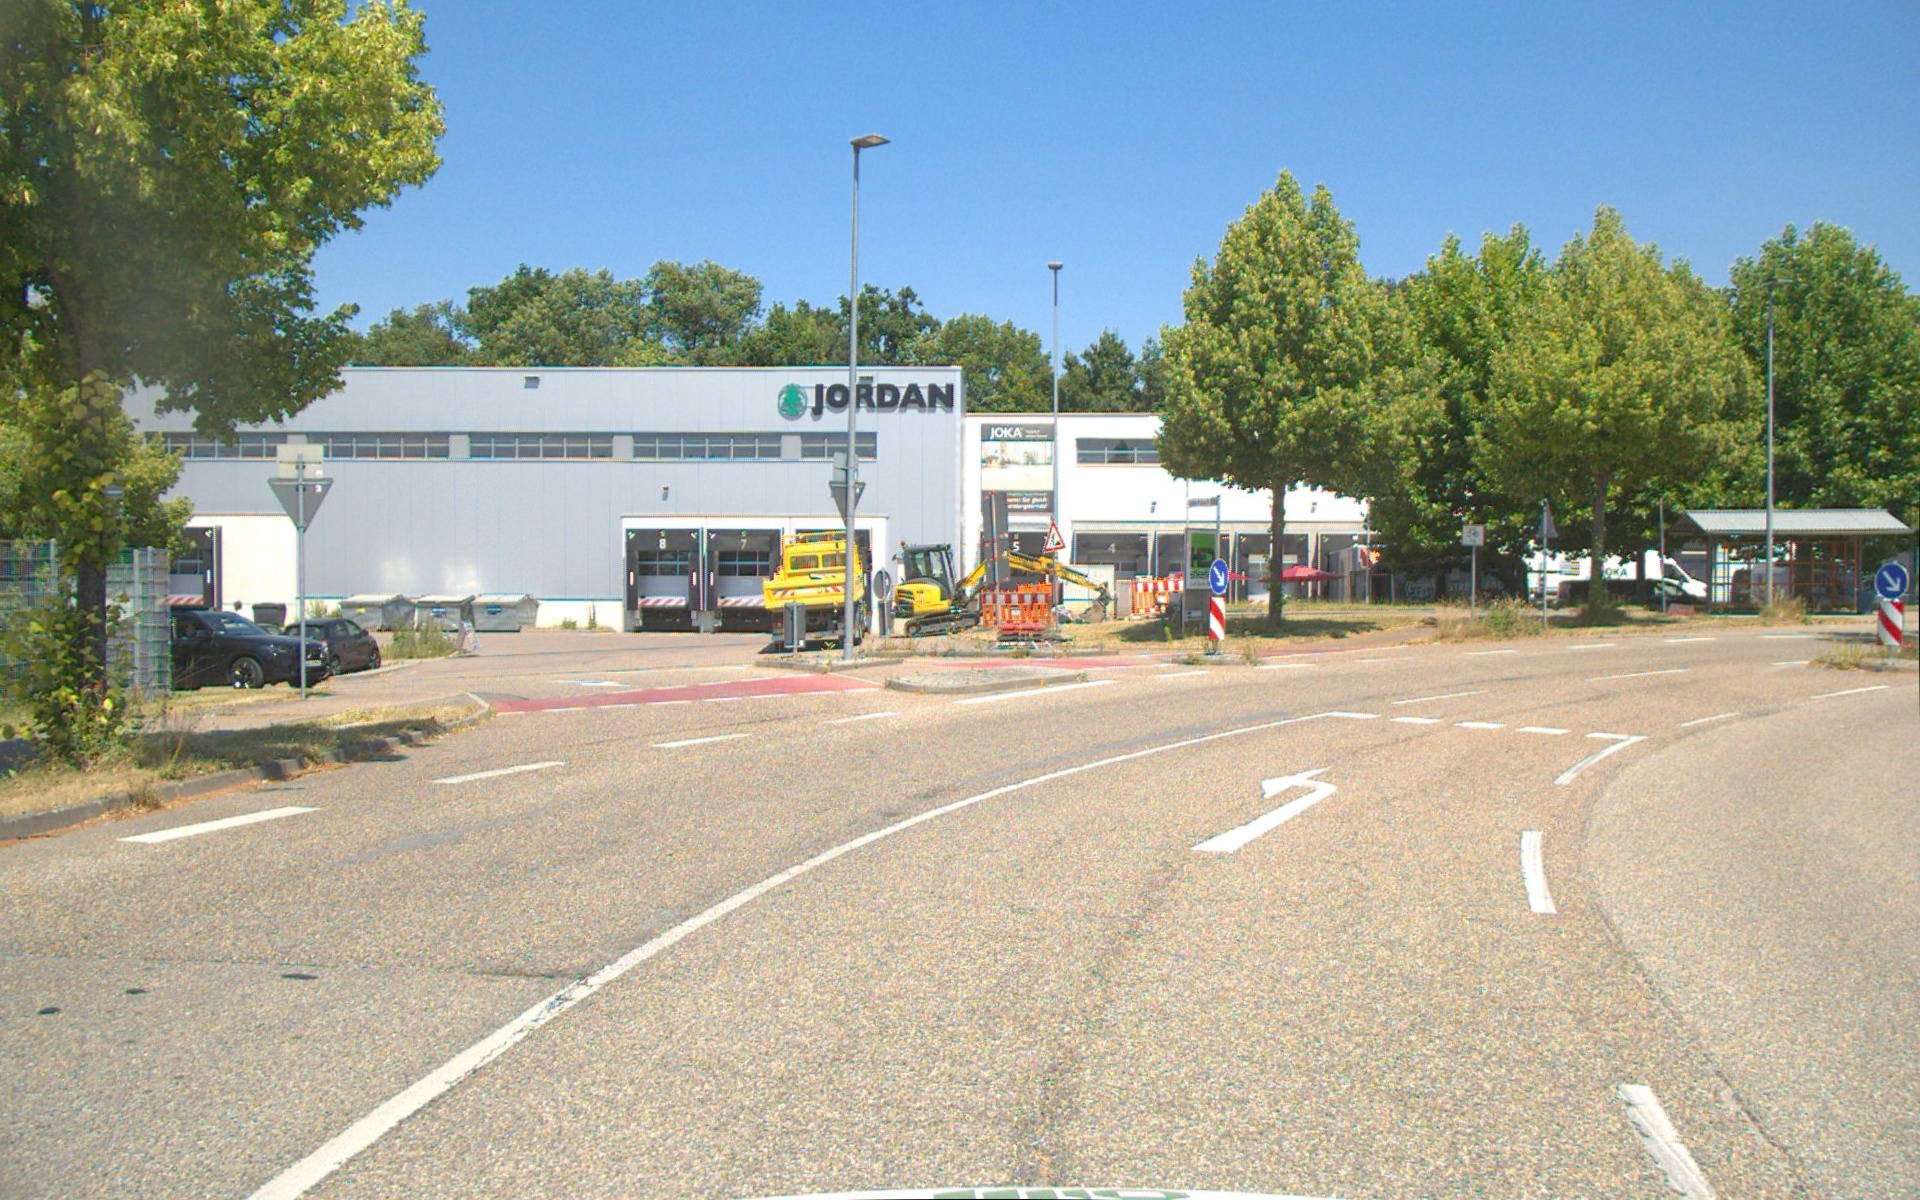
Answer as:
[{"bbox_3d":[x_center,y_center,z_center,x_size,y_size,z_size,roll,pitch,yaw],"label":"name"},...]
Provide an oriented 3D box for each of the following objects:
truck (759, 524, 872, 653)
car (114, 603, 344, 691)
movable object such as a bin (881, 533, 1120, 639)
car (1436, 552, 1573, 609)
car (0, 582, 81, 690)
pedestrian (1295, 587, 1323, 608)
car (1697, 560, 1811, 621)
[{"bbox_3d":[-3.892,-0.442,45.903,2.535,3.190,6.425,-3,3,-1],"label":"truck"},{"bbox_3d":[-14.689,0.961,33.189,4.496,1.663,1.867,-1,-2,28],"label":"car"},{"bbox_3d":[1.183,-0.376,46.421,6.417,2.626,2.002,-3,0,7],"label":"movable object such as a bin"},{"bbox_3d":[17.794,-0.638,54.188,3.903,1.758,1.841,-1,0,4],"label":"car"},{"bbox_3d":[-26.336,0.972,44.642,1.952,2.780,5.800,-1,1,1],"label":"car"},{"bbox_3d":[11.827,-0.088,56.073,0.847,0.707,0.407,-1,0,26],"label":"pedestrian"},{"bbox_3d":[28.059,-0.319,58.611,1.515,2.049,4.257,2,-1,-8],"label":"car"}]
